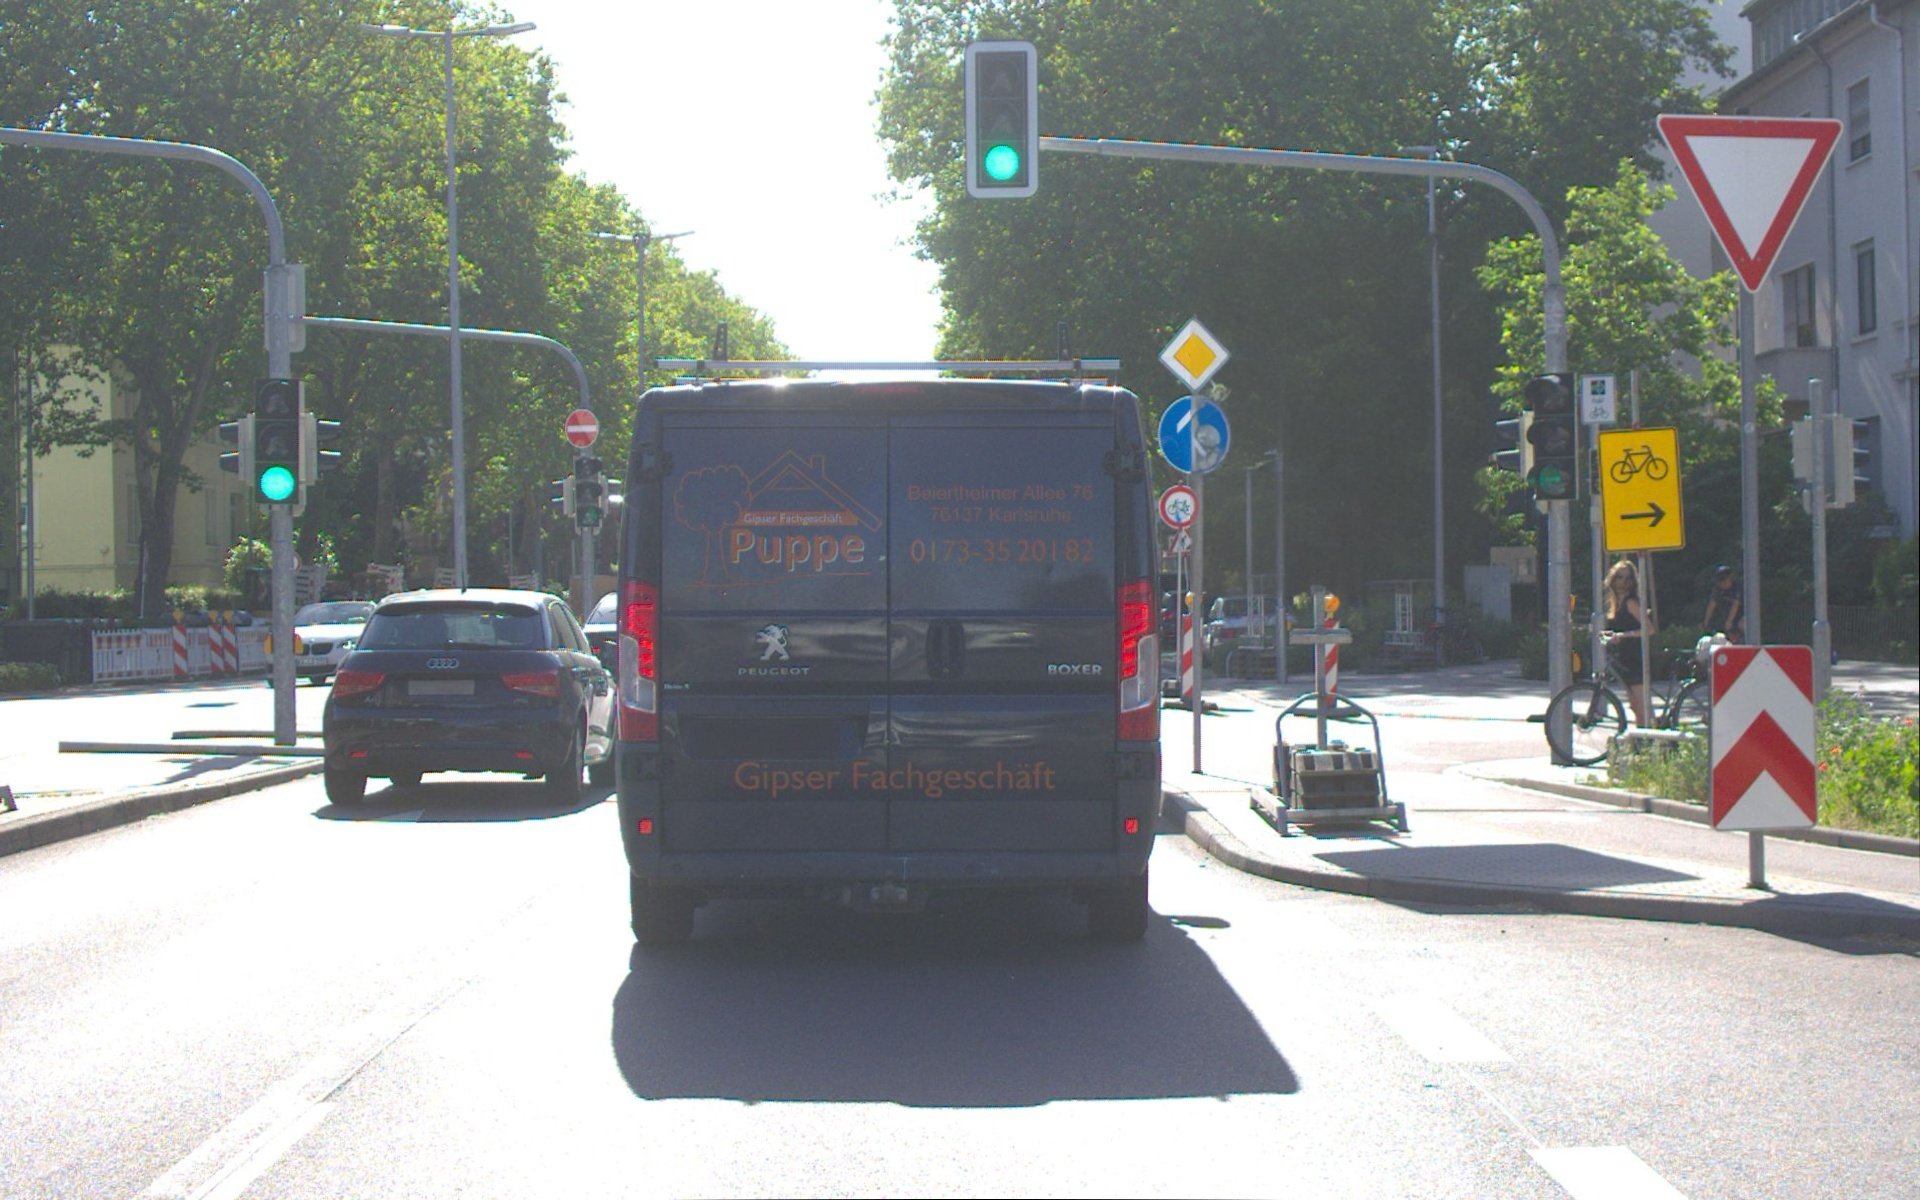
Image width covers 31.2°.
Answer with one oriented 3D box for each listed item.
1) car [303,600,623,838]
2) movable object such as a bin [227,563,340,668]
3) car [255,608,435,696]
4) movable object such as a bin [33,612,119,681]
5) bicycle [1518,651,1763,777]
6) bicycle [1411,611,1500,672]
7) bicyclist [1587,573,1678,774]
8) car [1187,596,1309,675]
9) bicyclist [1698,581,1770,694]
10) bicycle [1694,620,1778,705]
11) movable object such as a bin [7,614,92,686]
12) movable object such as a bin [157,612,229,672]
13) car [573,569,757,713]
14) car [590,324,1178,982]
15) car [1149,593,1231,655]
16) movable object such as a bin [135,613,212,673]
[{"bbox_3d":[-3.387,0.766,24.082,1.746,1.402,4.001,1,1,-2],"label":"car"},{"bbox_3d":[-17.731,0.397,90.292,2.146,2.697,5.355,0,0,-3],"label":"movable object such as a bin"},{"bbox_3d":[-10.086,0.825,56.662,1.931,1.341,4.316,0,0,4],"label":"car"},{"bbox_3d":[-17.926,0.933,69.746,1.214,1.383,1.855,0,0,2],"label":"movable object such as a bin"},{"bbox_3d":[5.851,0.973,29.605,1.962,1.022,0.605,1,1,0],"label":"bicycle"},{"bbox_3d":[8.354,0.693,57.854,0.588,1.002,2.127,0,0,35],"label":"bicycle"},{"bbox_3d":[5.795,0.623,29.658,0.603,1.703,0.858,0,0,0],"label":"bicyclist"},{"bbox_3d":[5.533,0.667,66.599,1.852,1.474,4.942,0,0,-1],"label":"car"},{"bbox_3d":[10.340,0.496,45.907,0.725,1.494,0.870,0,0,29],"label":"bicyclist"},{"bbox_3d":[10.390,0.830,46.012,0.689,1.094,1.684,0,0,27],"label":"bicycle"},{"bbox_3d":[-17.836,0.967,67.409,1.114,1.383,1.855,0,0,2],"label":"movable object such as a bin"},{"bbox_3d":[-17.359,0.945,77.835,1.410,1.333,0.936,0,0,2],"label":"movable object such as a bin"},{"bbox_3d":[-3.176,0.411,37.642,1.746,1.402,4.001,1,1,-2],"label":"car"},{"bbox_3d":[-0.297,0.169,14.305,2.095,2.347,3.933,0,1,-1],"label":"car"},{"bbox_3d":[5.728,0.591,85.826,1.763,1.503,4.251,0,0,0],"label":"car"},{"bbox_3d":[-17.553,0.958,76.751,1.410,1.333,1.156,0,0,2],"label":"movable object such as a bin"}]
